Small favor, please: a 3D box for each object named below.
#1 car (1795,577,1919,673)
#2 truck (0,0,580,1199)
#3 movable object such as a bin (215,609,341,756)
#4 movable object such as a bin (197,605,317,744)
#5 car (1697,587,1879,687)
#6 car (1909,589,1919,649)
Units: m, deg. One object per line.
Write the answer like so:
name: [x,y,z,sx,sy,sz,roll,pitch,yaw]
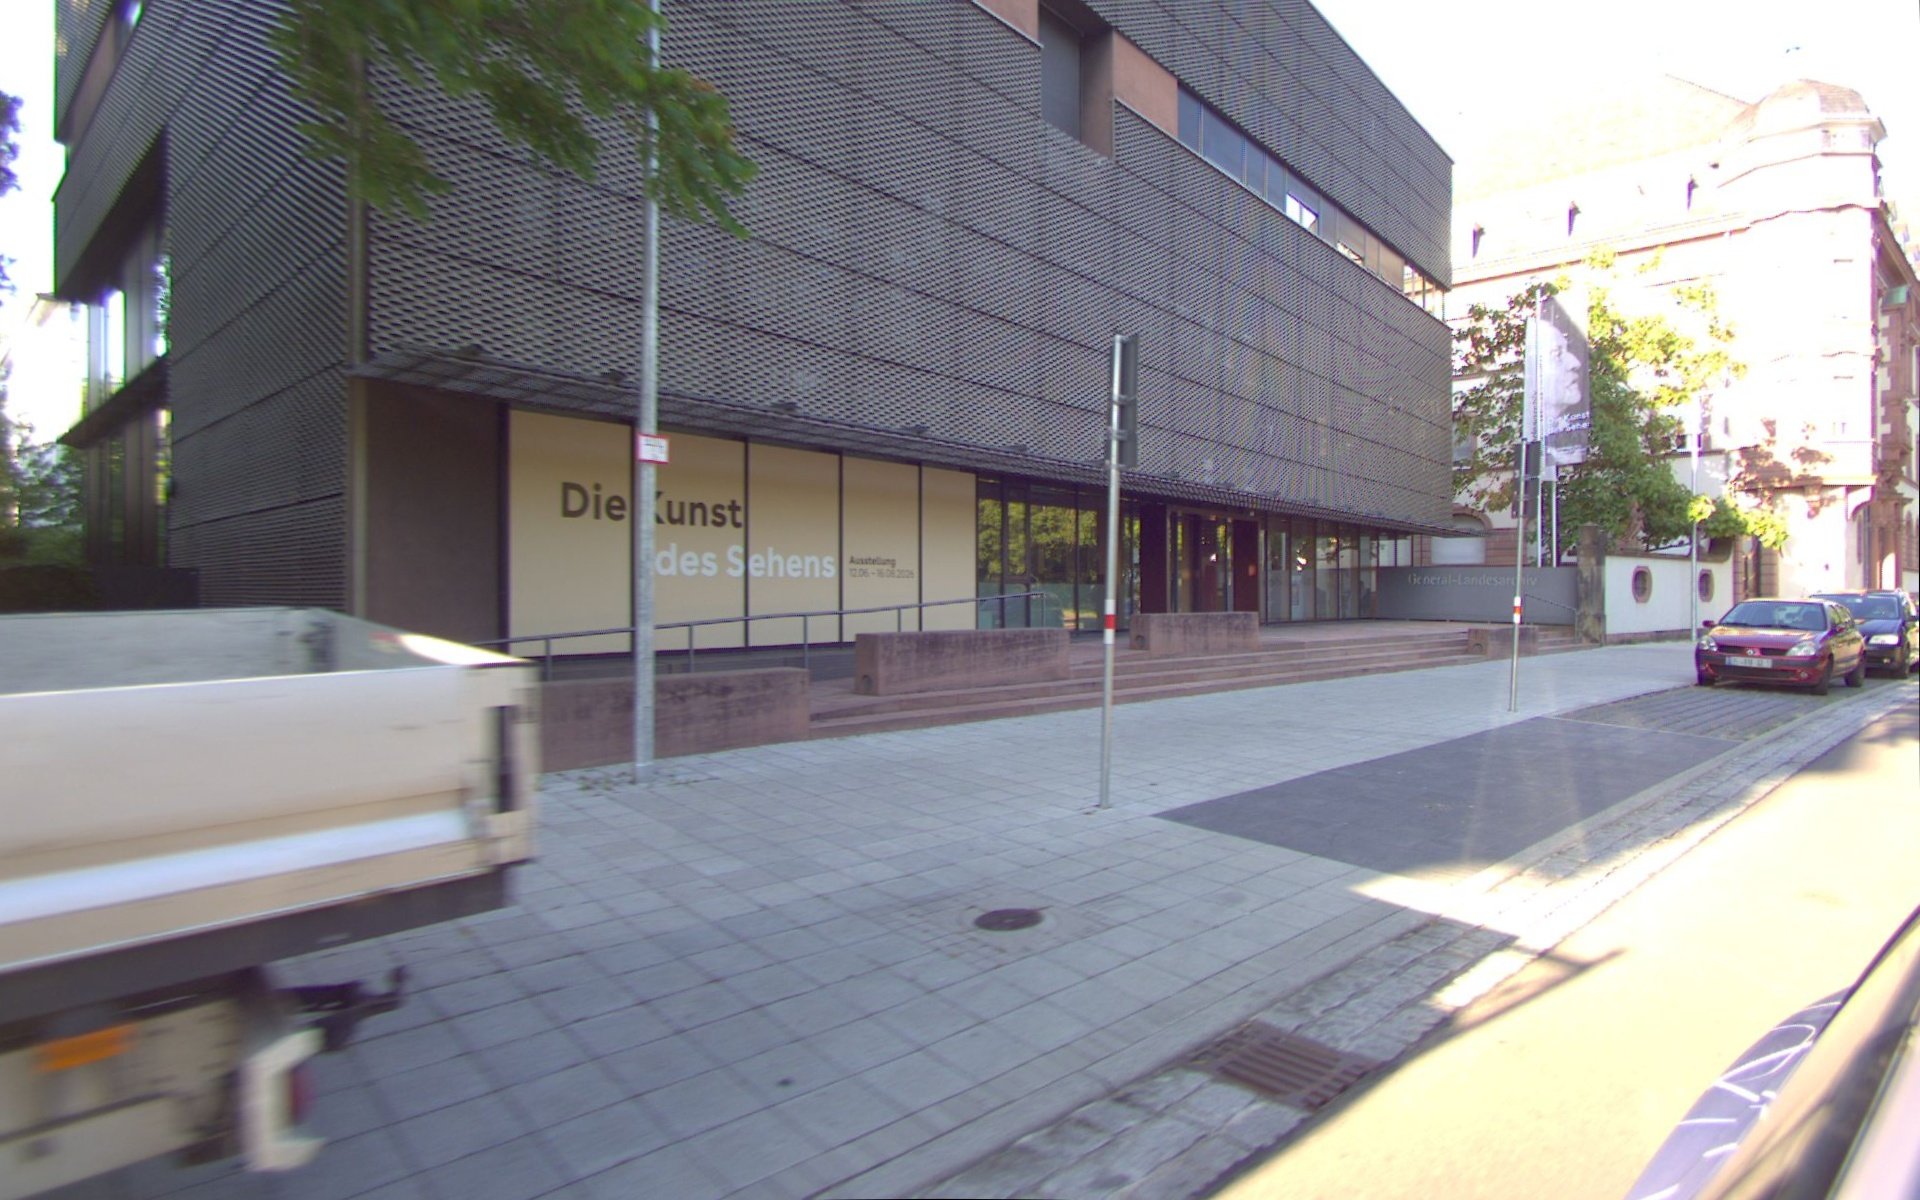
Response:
car: [17.424,0.390,19.316,3.880,1.638,1.610,-1,1,-40]
truck: [-3.951,0.212,0.508,6.762,2.596,2.130,-1,1,-43]
movable object such as a bin: [-5.845,0.673,8.676,0.657,1.160,0.757,0,1,42]
movable object such as a bin: [-6.349,0.639,9.139,0.657,1.160,0.757,0,1,42]
car: [13.134,0.495,15.997,3.485,1.374,1.610,-1,1,-40]
car: [25.395,0.443,25.671,3.664,1.464,1.509,-1,1,-40]
